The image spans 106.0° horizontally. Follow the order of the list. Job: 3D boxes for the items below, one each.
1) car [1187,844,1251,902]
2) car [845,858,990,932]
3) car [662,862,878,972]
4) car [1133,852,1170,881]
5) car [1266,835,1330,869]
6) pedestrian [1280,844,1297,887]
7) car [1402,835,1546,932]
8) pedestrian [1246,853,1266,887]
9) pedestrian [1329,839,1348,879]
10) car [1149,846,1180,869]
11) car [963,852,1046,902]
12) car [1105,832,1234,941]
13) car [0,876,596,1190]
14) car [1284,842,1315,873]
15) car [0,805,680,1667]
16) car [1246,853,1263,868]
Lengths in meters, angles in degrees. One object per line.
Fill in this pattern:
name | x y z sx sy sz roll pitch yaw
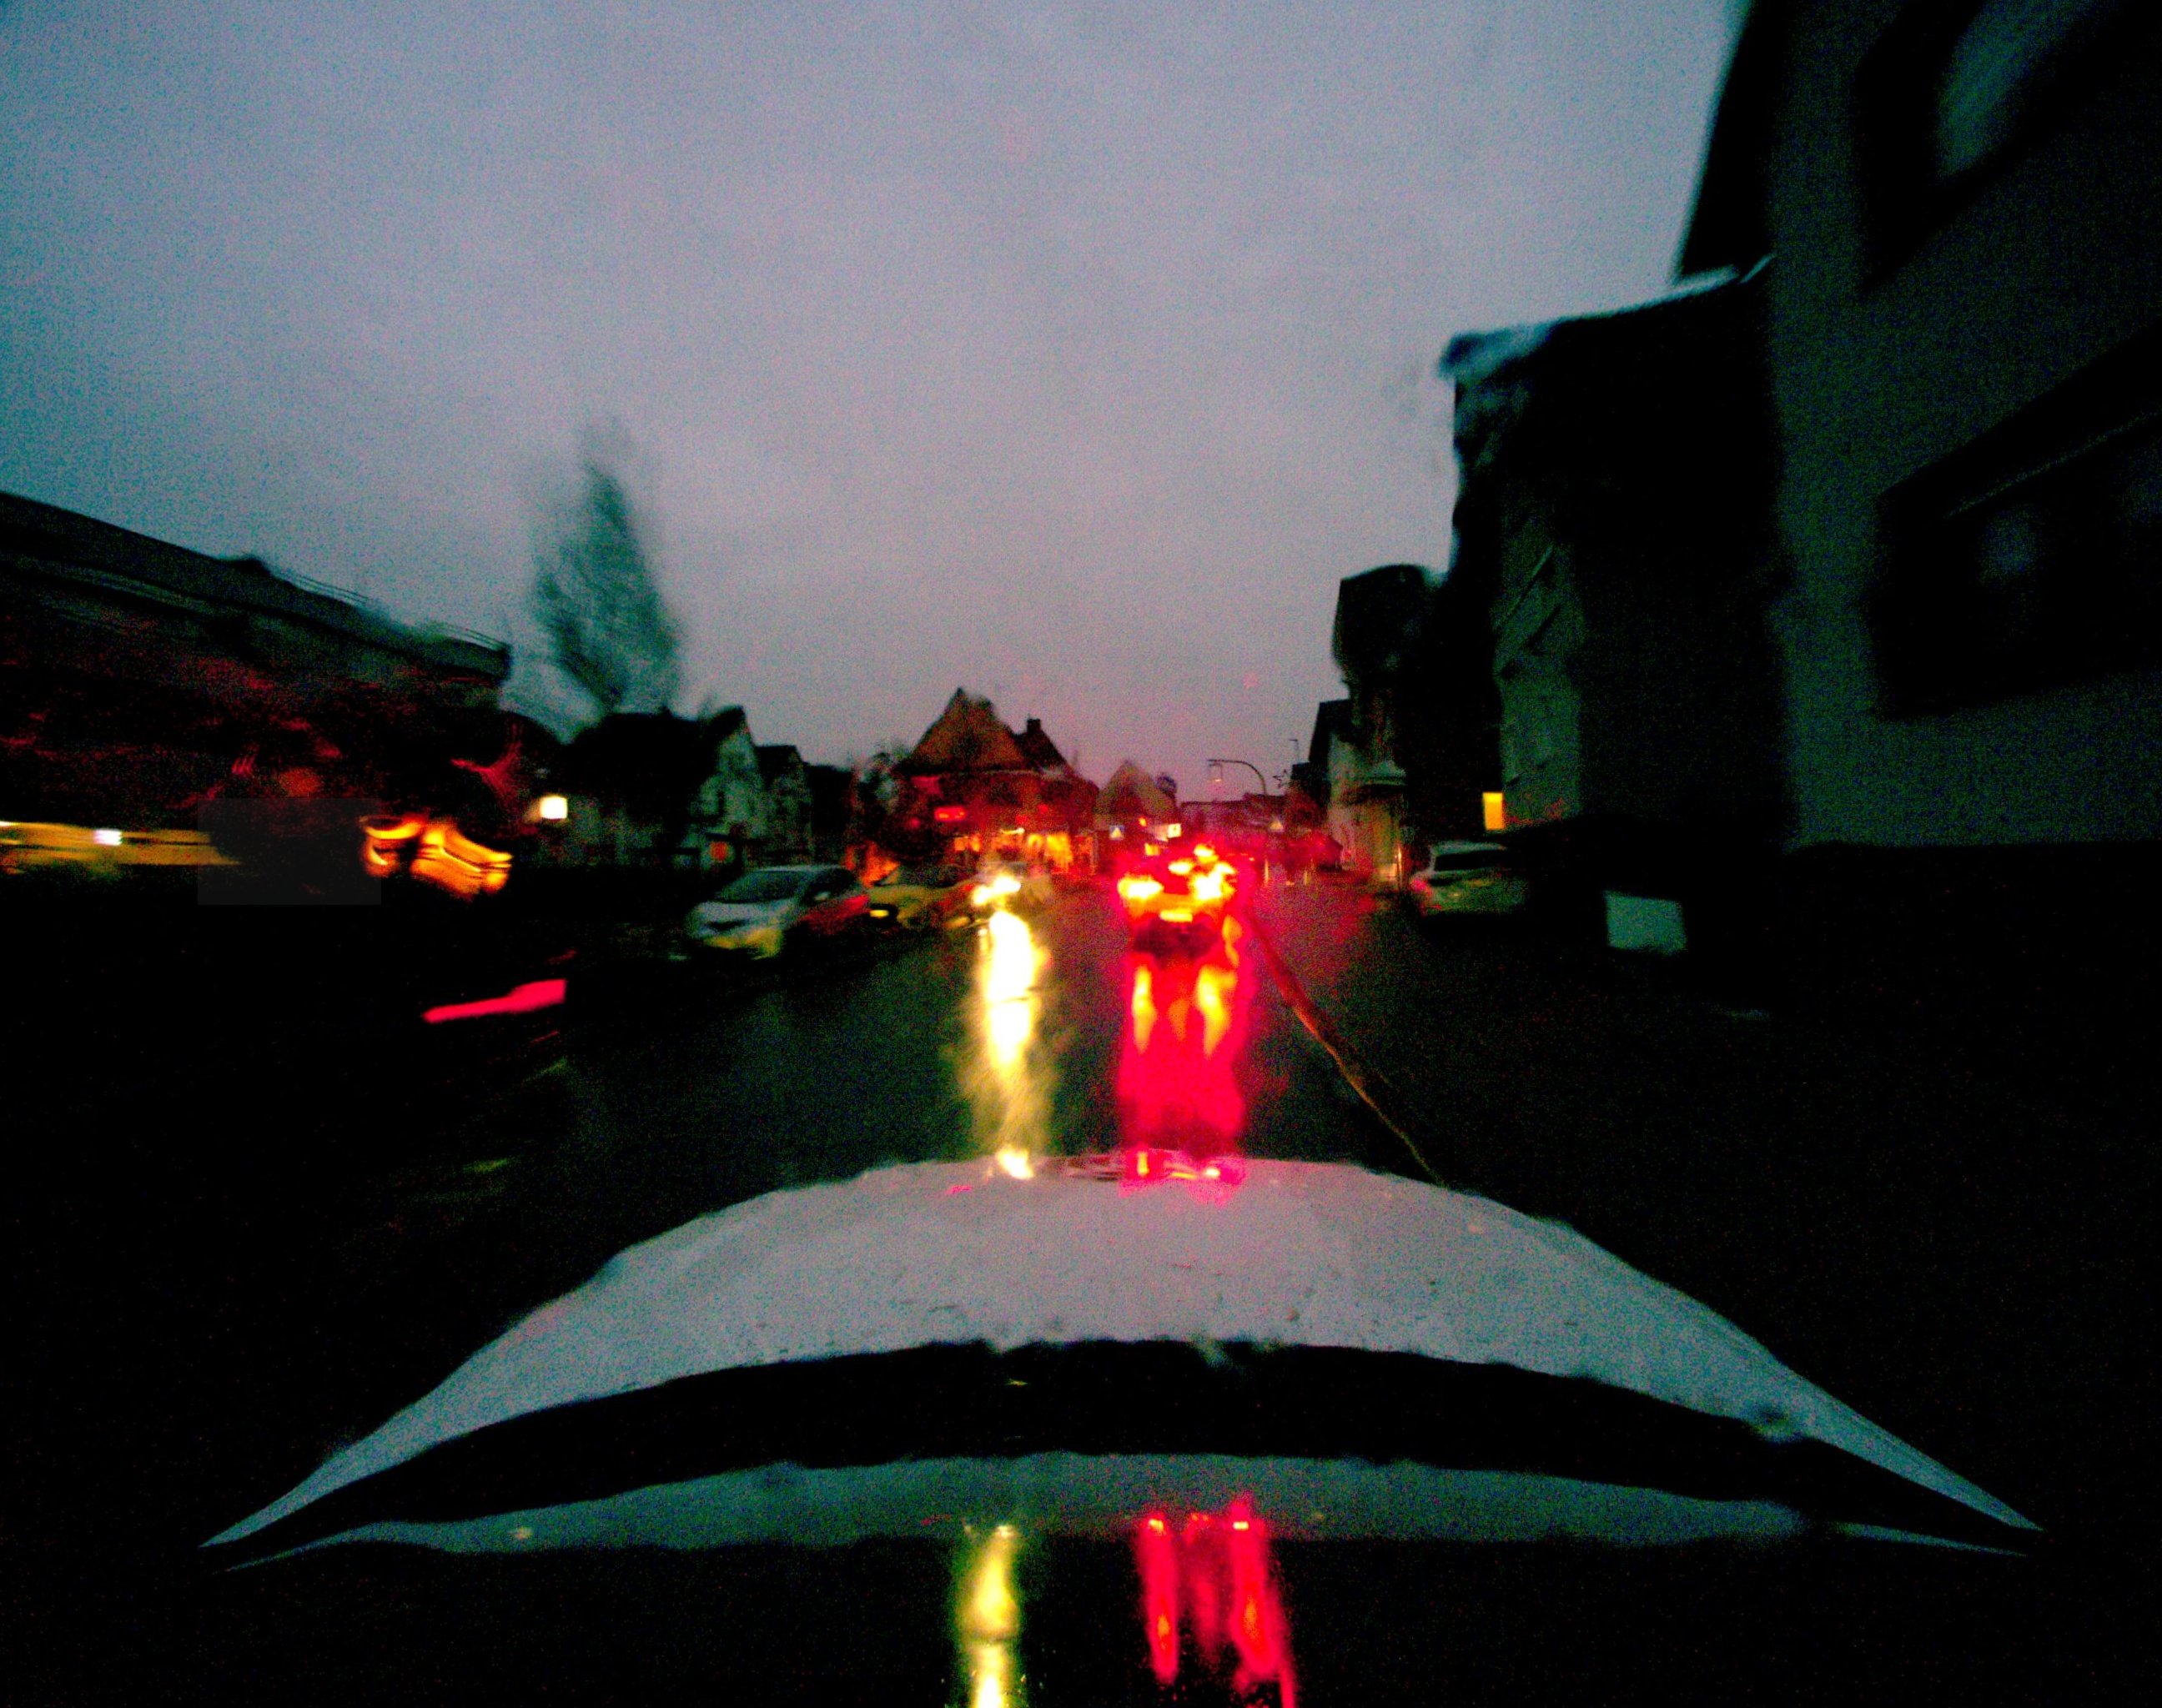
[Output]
car | 4.410 0.577 25.589 1.785 1.662 4.013 -1 -1 12
car | -3.654 0.855 19.034 1.737 1.516 4.356 0 0 12
car | -4.880 0.905 13.397 1.683 1.516 3.781 0 0 8
car | 5.135 0.864 58.867 1.980 2.014 4.376 -1 0 13
car | 13.154 -0.120 49.487 3.670 2.014 1.695 -1 -1 14
pedestrian | 9.118 0.511 35.752 0.658 1.888 0.828 -1 -1 17
car | 7.043 0.454 15.037 1.868 1.466 4.566 -3 0 20
pedestrian | 9.151 0.837 42.615 0.967 1.742 0.964 0 0 10
pedestrian | 12.149 0.213 38.452 0.700 1.876 0.618 0 0 3
car | 6.773 0.311 65.763 1.980 1.752 4.375 -1 0 12
car | -2.428 0.700 26.859 1.659 1.516 4.012 0 0 11
car | 1.913 0.543 16.027 1.980 1.795 4.664 -2 0 12
car | -5.997 0.956 5.952 1.736 1.472 4.469 0 0 9
car | 15.606 0.231 58.282 1.632 2.013 4.010 -3 0 8
car | -3.401 0.845 1.956 2.130 1.860 4.750 -1 0 6
car | 17.417 0.635 81.909 1.524 1.245 3.659 -6 0 11
